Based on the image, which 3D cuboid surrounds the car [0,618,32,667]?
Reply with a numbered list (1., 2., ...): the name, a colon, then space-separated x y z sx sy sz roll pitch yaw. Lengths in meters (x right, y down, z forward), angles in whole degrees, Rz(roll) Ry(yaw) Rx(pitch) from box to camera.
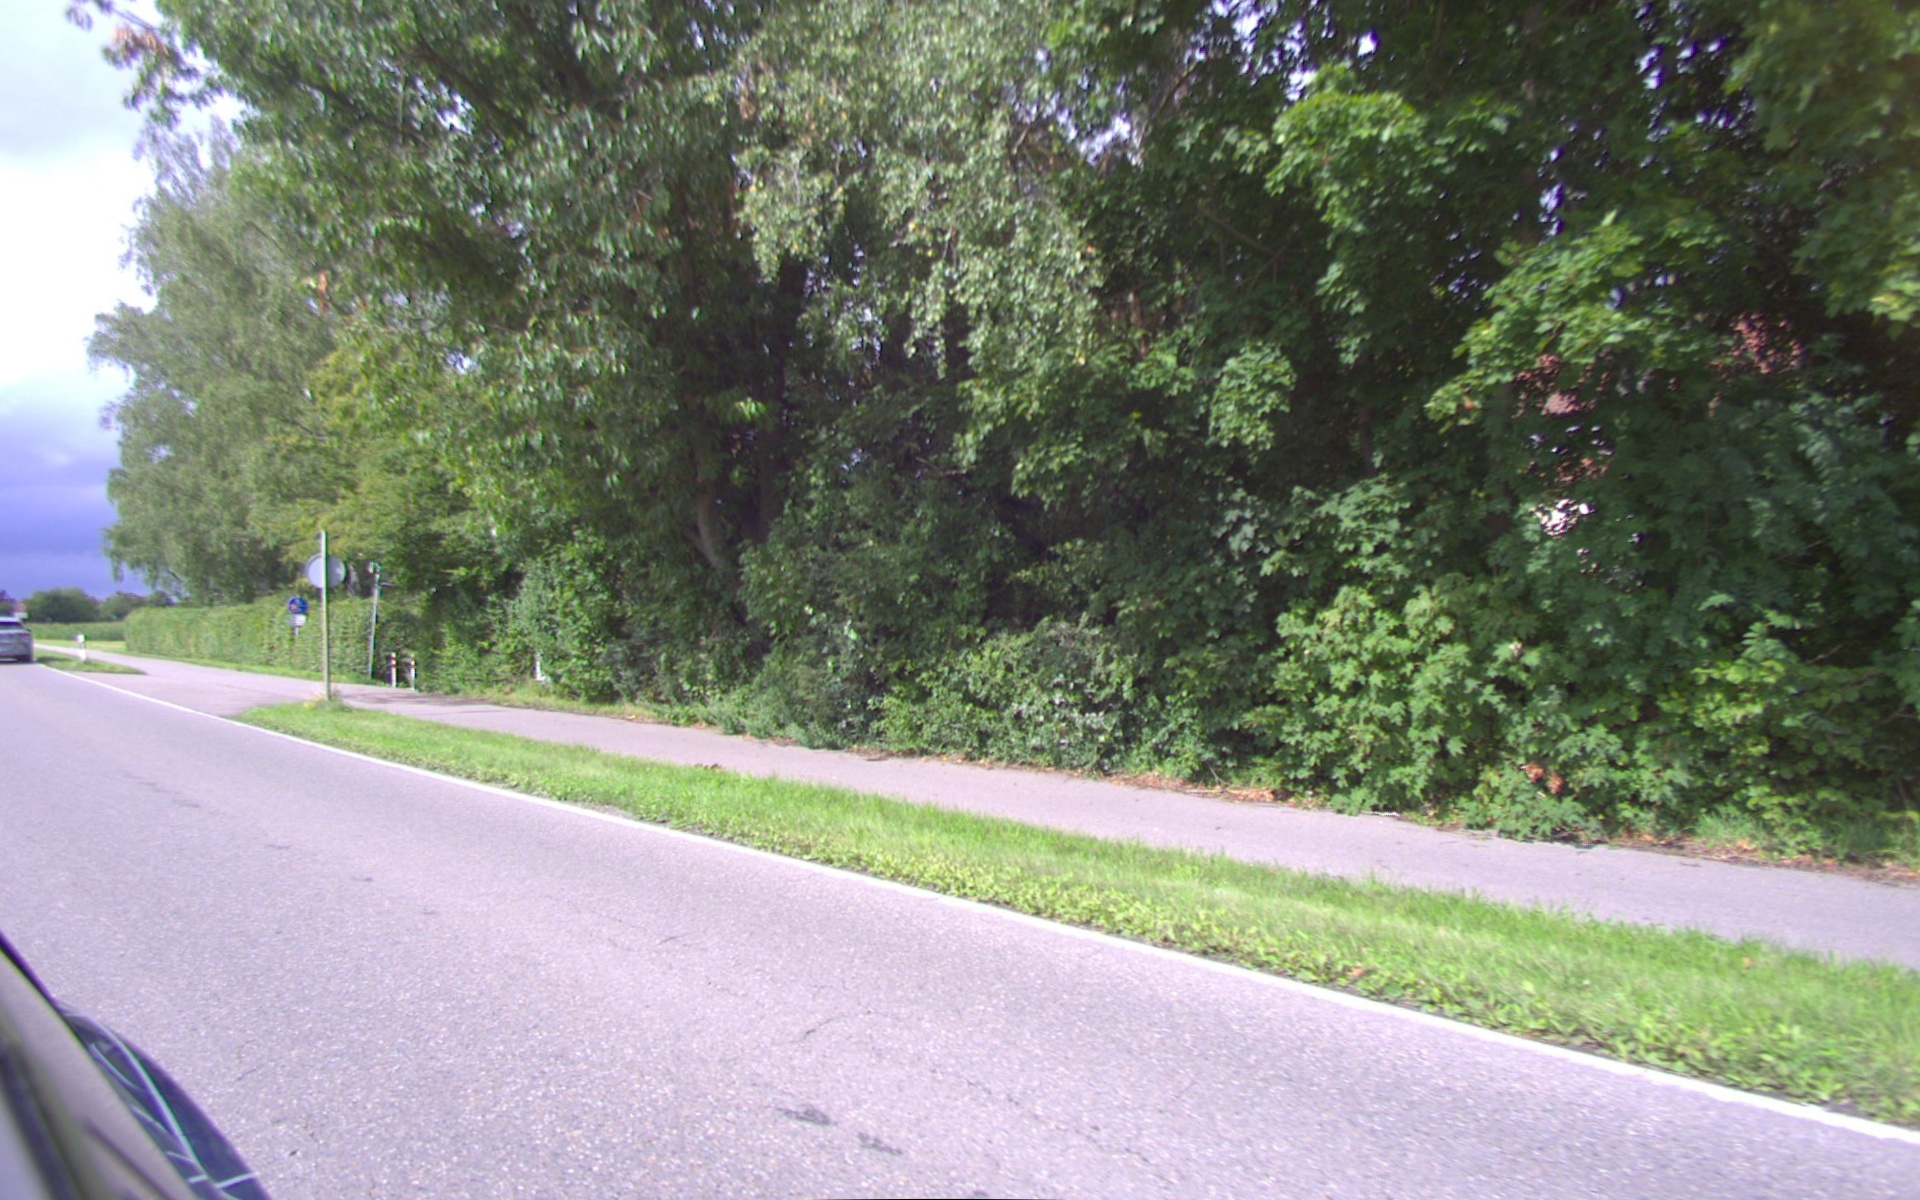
1. car: -34.257 1.486 35.783 4.292 1.663 1.791 -2 -3 43
